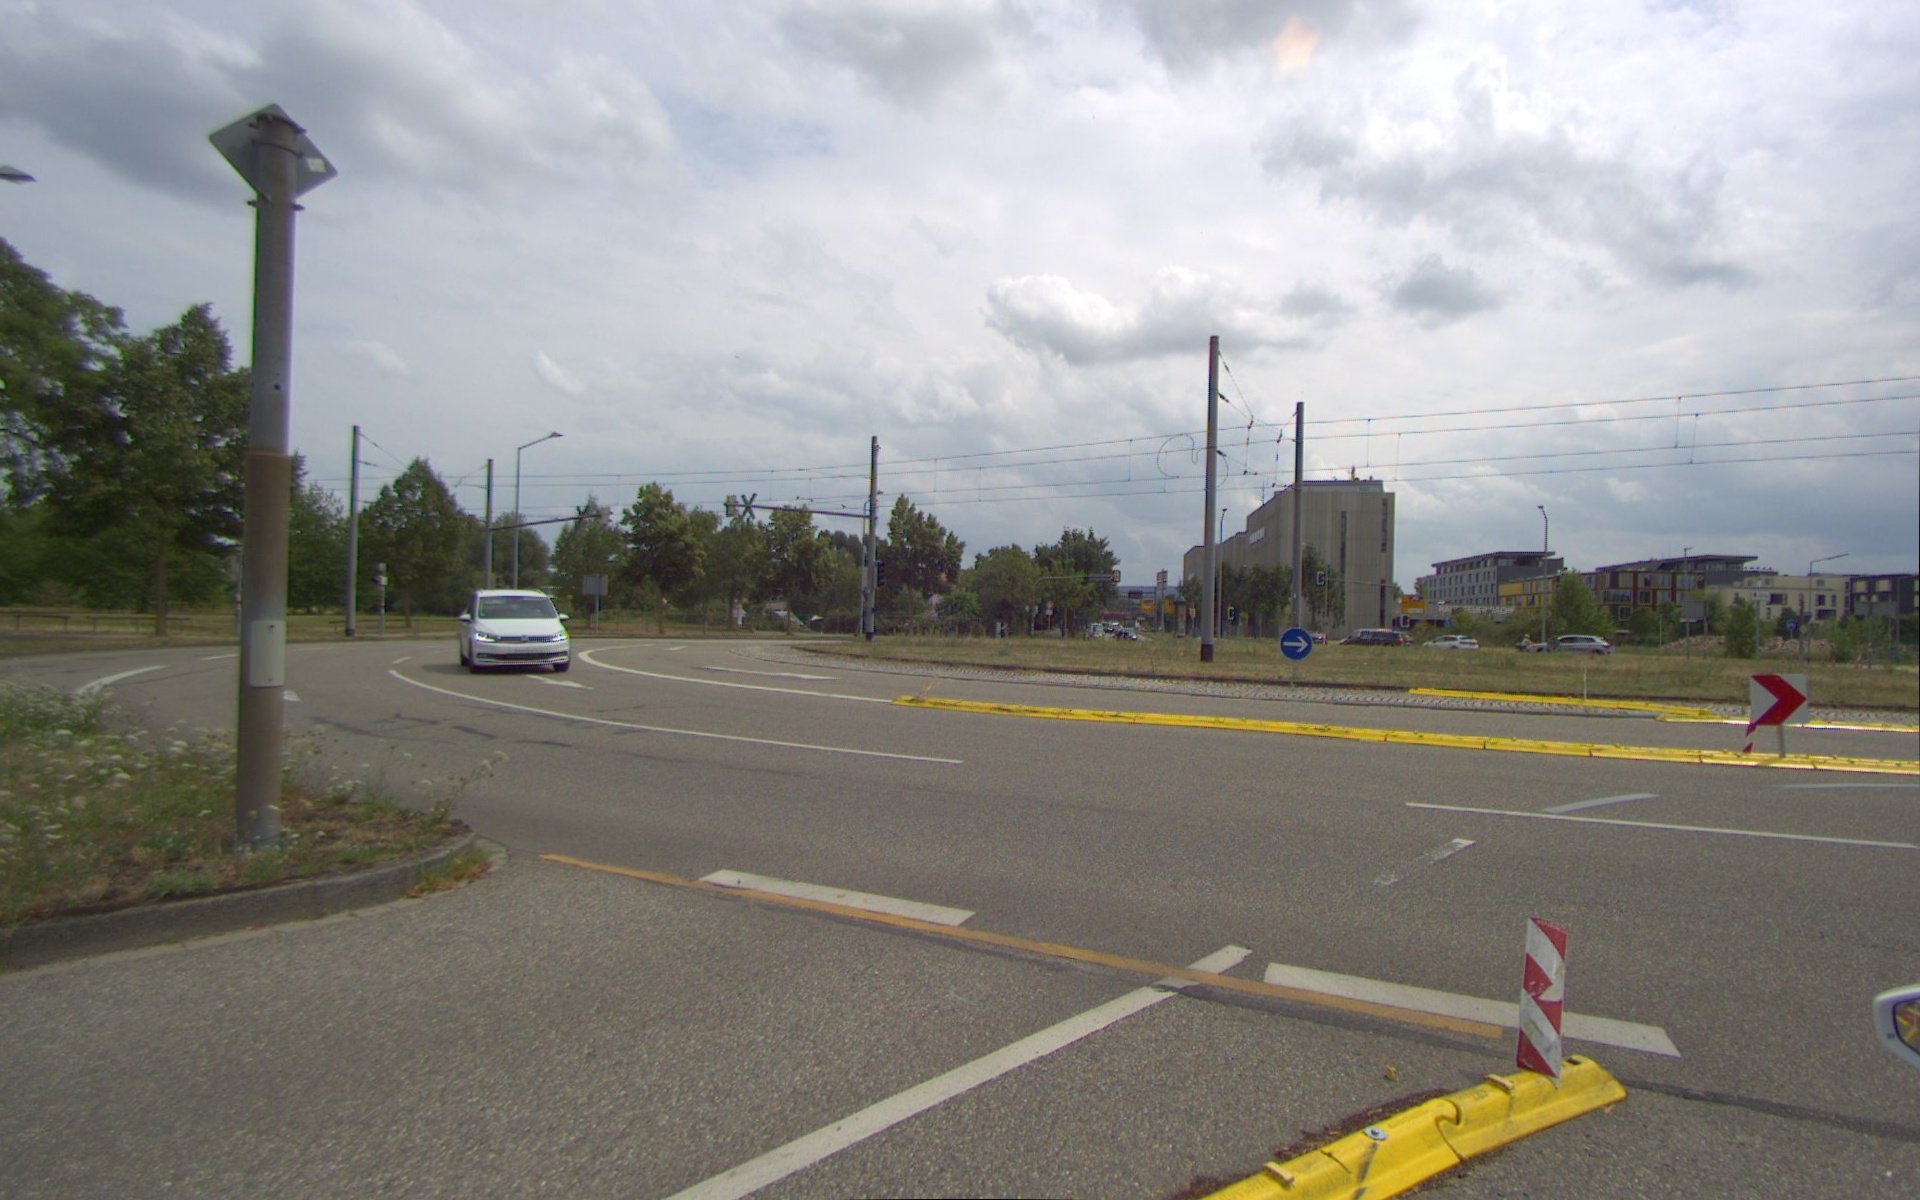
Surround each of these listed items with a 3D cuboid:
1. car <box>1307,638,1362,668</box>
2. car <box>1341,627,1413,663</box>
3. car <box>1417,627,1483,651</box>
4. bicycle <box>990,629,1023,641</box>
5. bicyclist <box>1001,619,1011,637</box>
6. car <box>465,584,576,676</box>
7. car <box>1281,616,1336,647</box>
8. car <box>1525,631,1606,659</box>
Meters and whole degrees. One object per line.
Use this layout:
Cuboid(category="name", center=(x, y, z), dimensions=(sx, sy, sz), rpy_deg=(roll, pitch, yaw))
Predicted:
Cuboid(category="car", center=(28.374, 3.967, 76.236), dimensions=(1.964, 2.040, 4.355), rpy_deg=(3, -1, -9))
Cuboid(category="car", center=(26.784, 2.892, 64.566), dimensions=(3.931, 2.040, 1.996), rpy_deg=(2, -1, 32))
Cuboid(category="car", center=(34.505, 2.719, 70.790), dimensions=(1.807, 1.483, 3.979), rpy_deg=(3, -1, -22))
Cuboid(category="bicycle", center=(3.837, 2.892, 83.105), dimensions=(2.611, 0.866, 0.863), rpy_deg=(2, -1, -10))
Cuboid(category="bicyclist", center=(3.806, 2.301, 83.133), dimensions=(0.662, 1.428, 0.863), rpy_deg=(1, -1, -9))
Cuboid(category="car", center=(-9.172, 0.594, 20.801), dimensions=(1.913, 1.688, 4.326), rpy_deg=(0, -1, -26))
Cuboid(category="car", center=(24.953, 2.209, 72.027), dimensions=(1.964, 2.040, 3.994), rpy_deg=(3, -1, -9))
Cuboid(category="car", center=(36.188, 2.685, 60.133), dimensions=(3.924, 1.483, 1.832), rpy_deg=(2, -1, 25))
